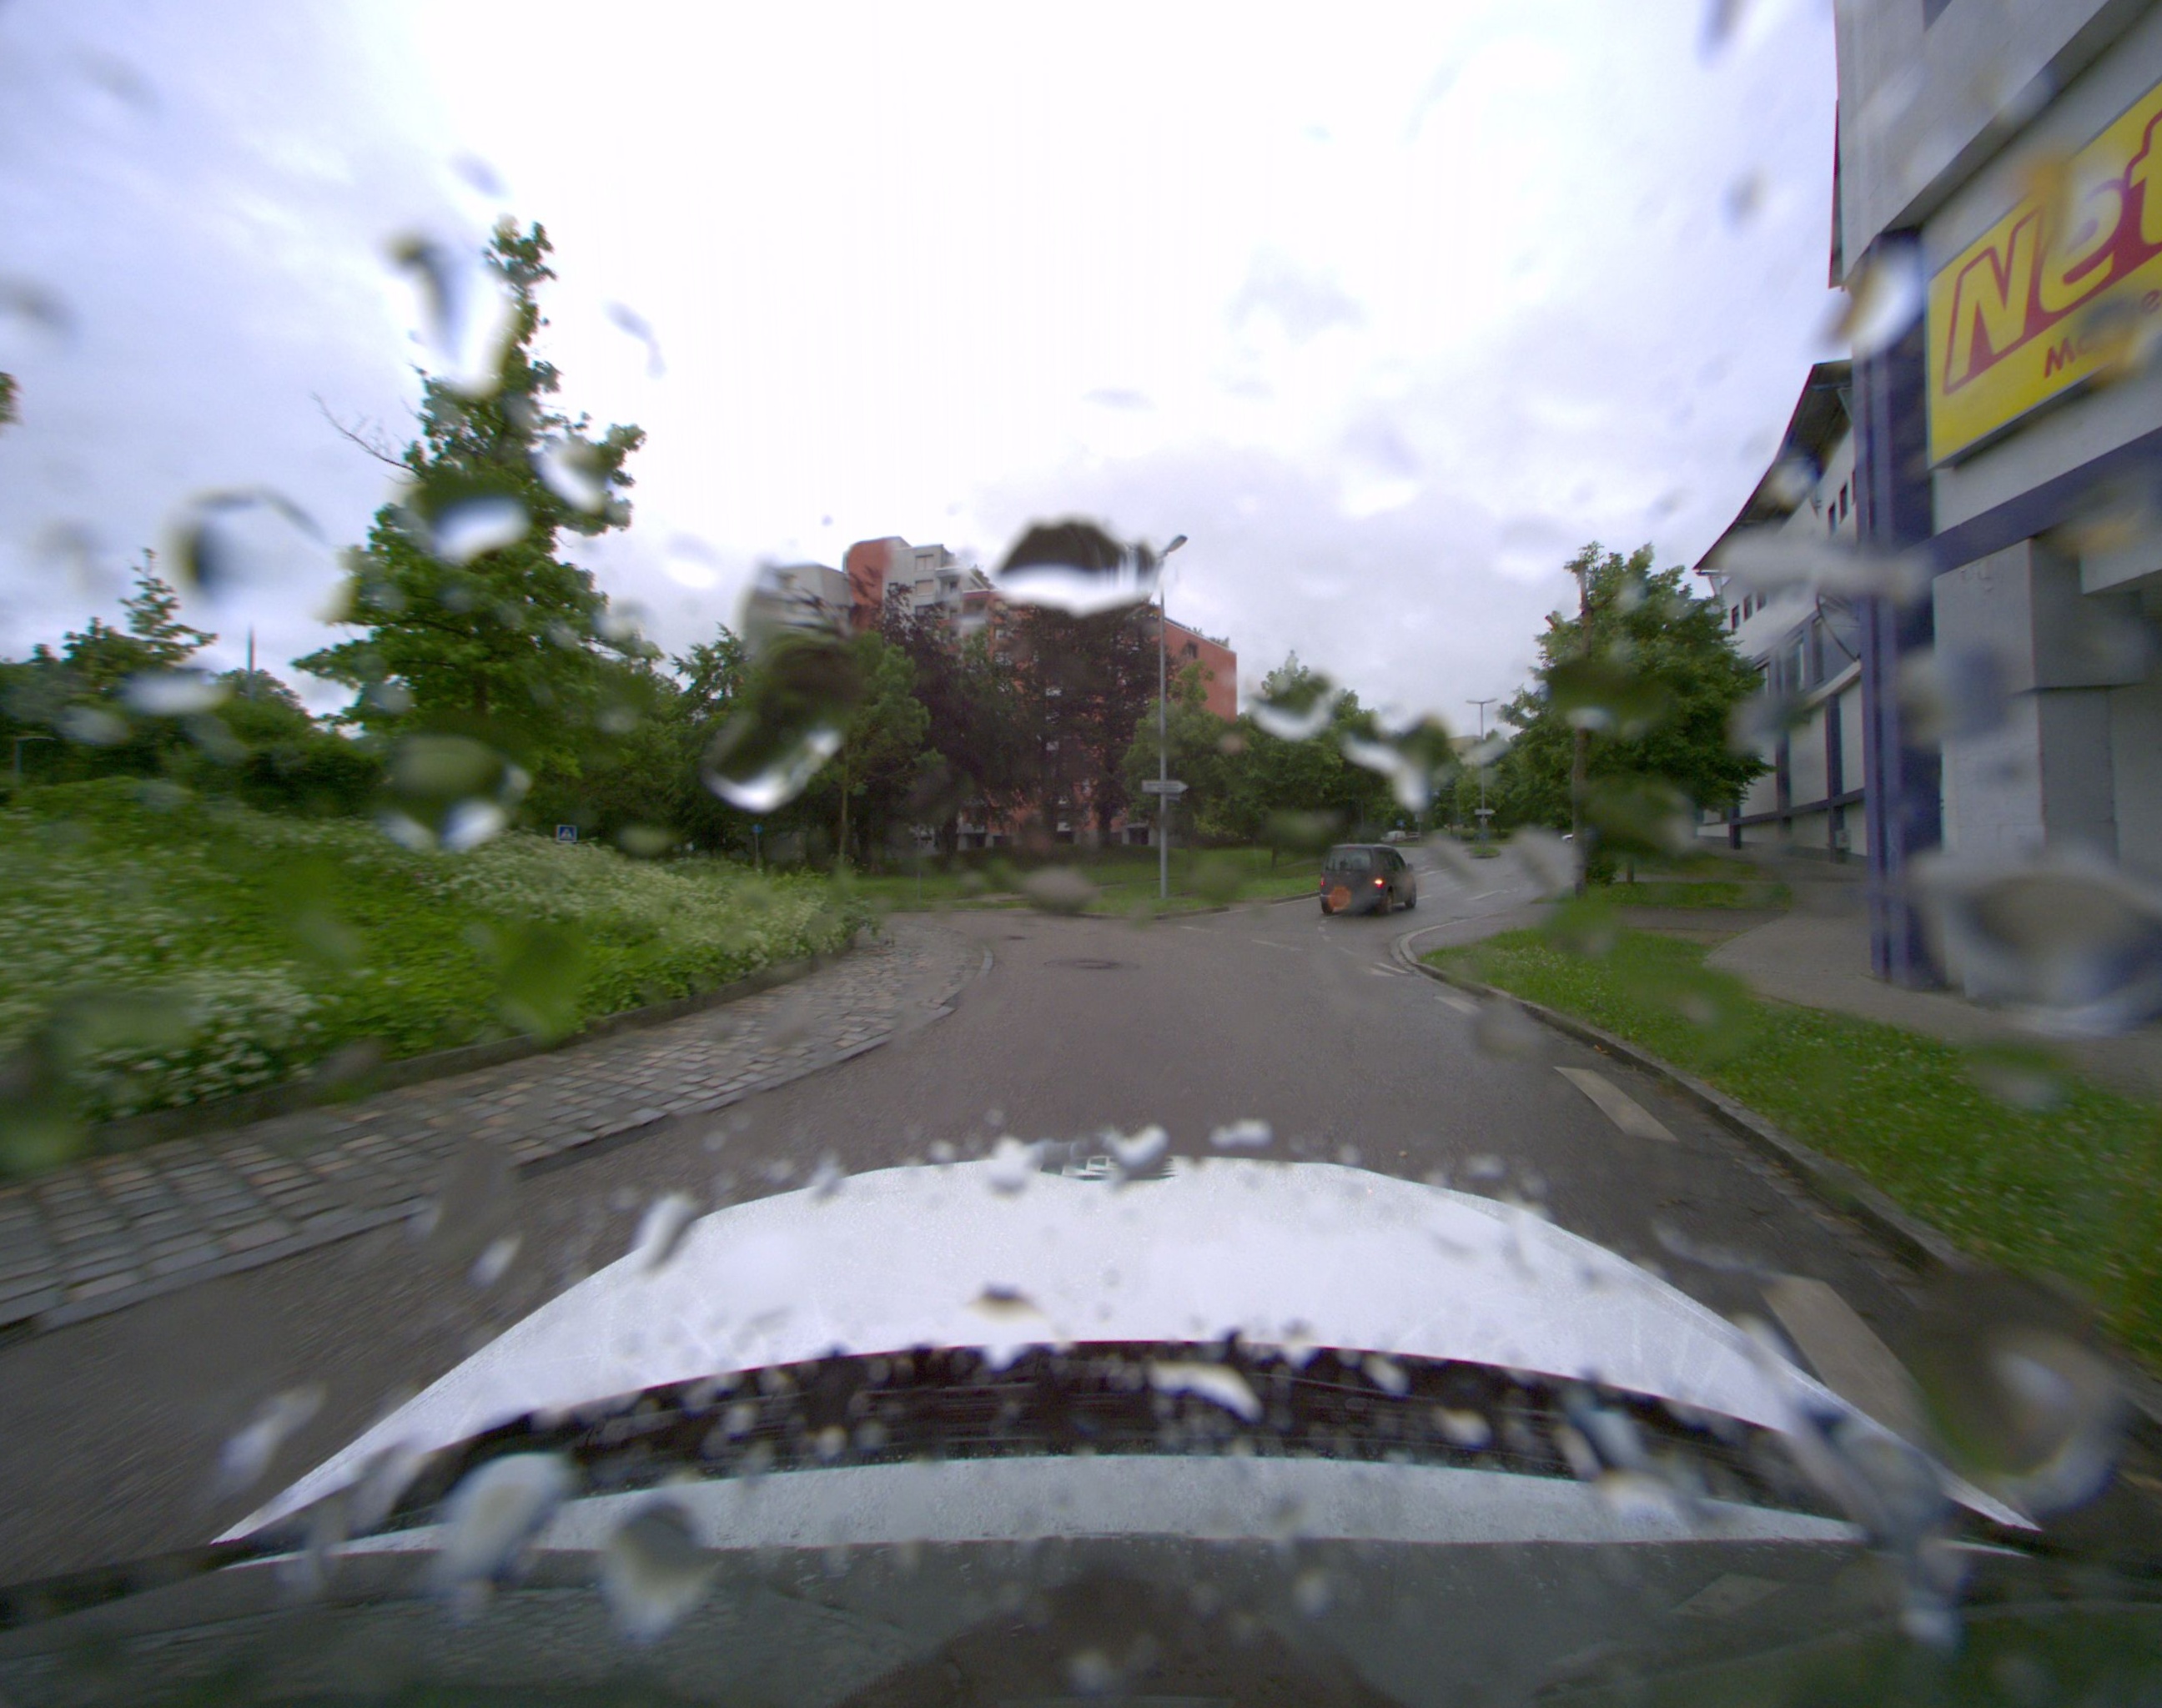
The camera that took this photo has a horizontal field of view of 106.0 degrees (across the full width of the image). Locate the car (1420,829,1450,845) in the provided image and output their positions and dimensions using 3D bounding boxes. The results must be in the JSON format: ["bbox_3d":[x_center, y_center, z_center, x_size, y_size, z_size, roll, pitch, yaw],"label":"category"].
[{"bbox_3d":[44.118,-2.128,101.565,1.842,1.873,3.858,0,-1,-3],"label":"car"}]

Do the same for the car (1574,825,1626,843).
[{"bbox_3d":[47.903,-1.803,75.289,3.949,1.565,1.898,-1,-1,31],"label":"car"}]

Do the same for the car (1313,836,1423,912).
[{"bbox_3d":[7.866,0.481,22.125,1.900,1.801,3.814,-1,2,34],"label":"car"}]

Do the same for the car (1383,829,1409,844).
[{"bbox_3d":[42.619,-2.376,110.353,1.988,1.873,3.998,0,-1,-1],"label":"car"}]
